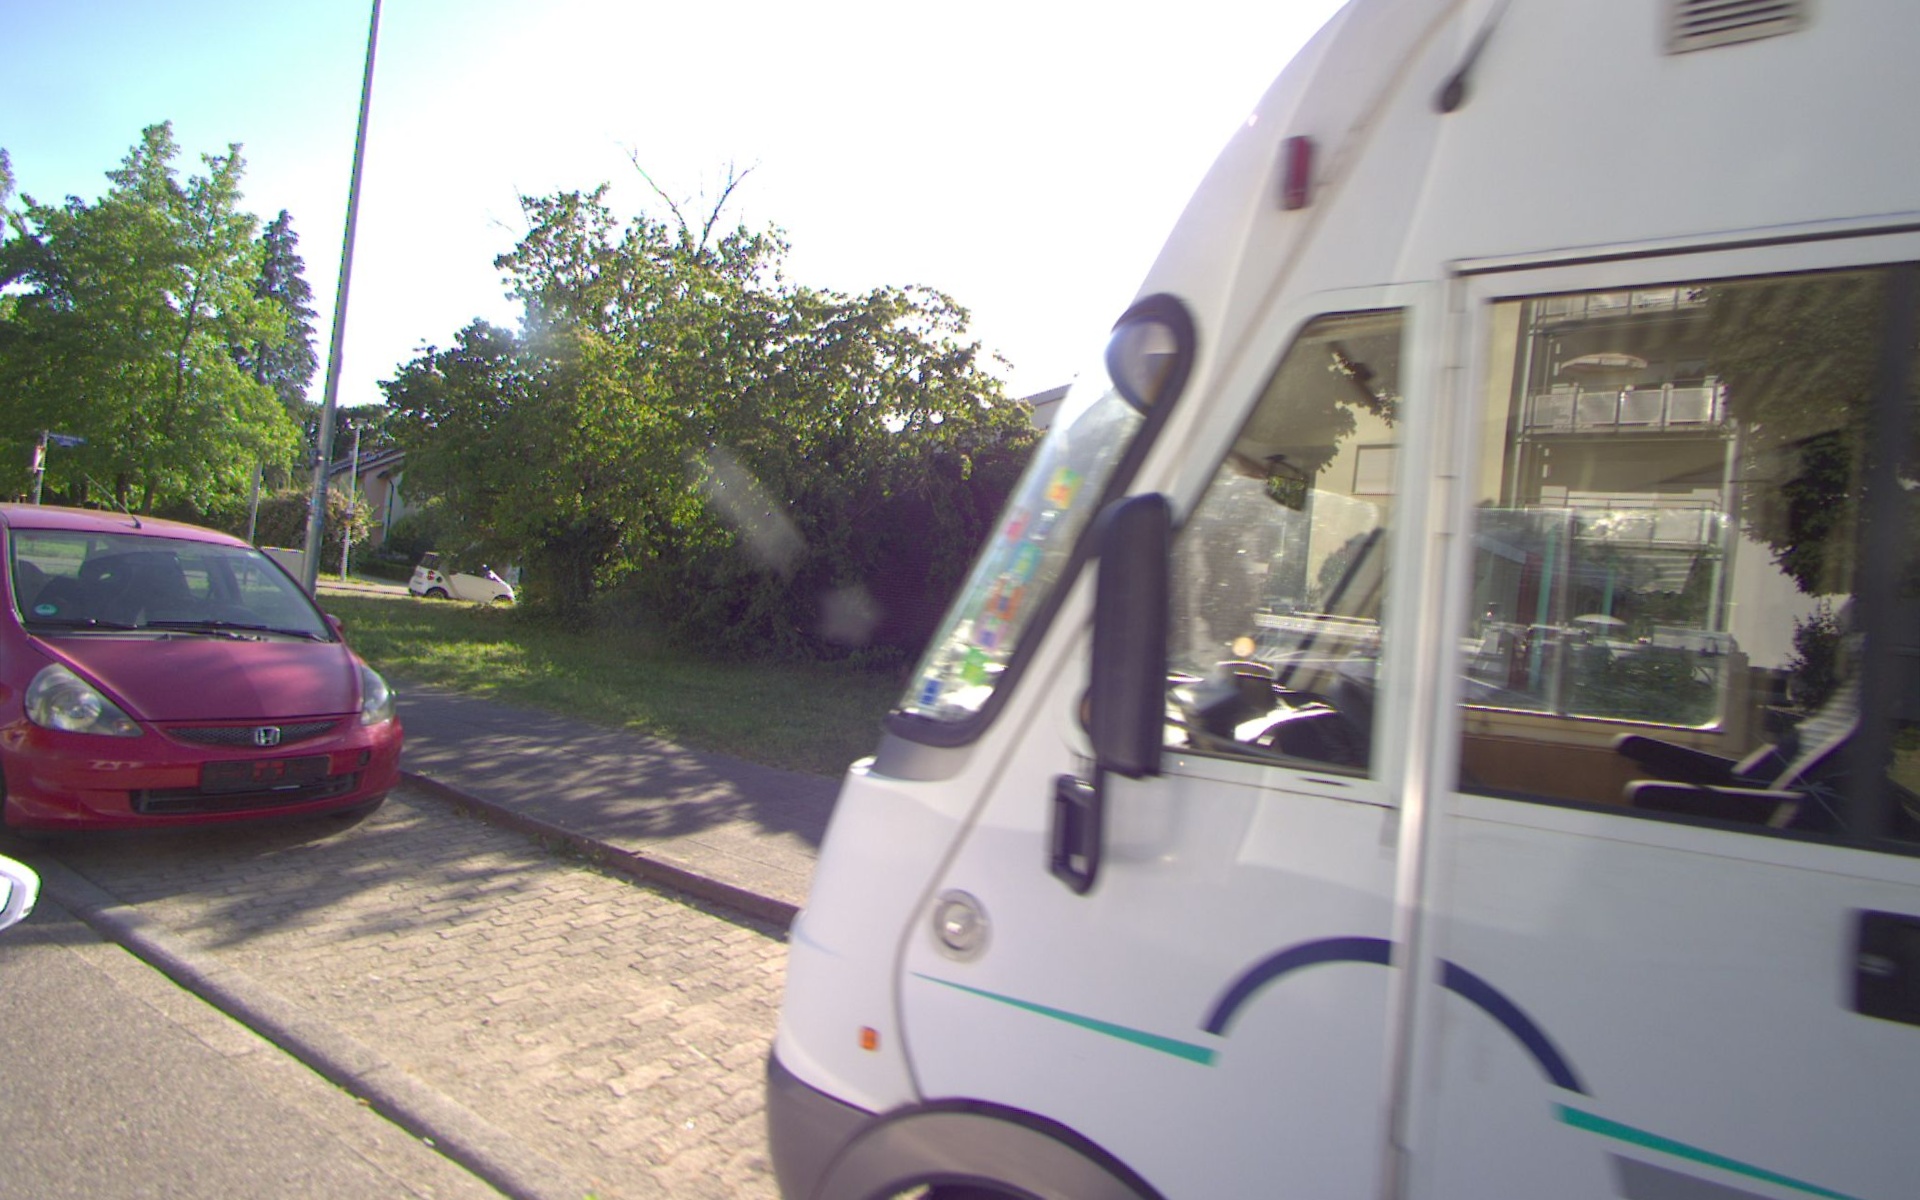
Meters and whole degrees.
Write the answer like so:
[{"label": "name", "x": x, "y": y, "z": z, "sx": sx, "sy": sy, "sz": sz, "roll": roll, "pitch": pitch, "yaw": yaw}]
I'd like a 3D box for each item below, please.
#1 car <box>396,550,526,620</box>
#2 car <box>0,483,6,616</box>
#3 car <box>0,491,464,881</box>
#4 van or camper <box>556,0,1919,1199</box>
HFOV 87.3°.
[{"label": "car", "x": -14.741, "y": -0.425, "z": 29.784, "sx": 1.678, "sy": 1.583, "sz": 2.947, "roll": 11, "pitch": 2, "yaw": 45}, {"label": "car", "x": -12.215, "y": -0.575, "z": 10.670, "sx": 4.566, "sy": 1.702, "sz": 1.776, "roll": 6, "pitch": 2, "yaw": 30}, {"label": "car", "x": -4.792, "y": 0.224, "z": 5.635, "sx": 3.934, "sy": 1.492, "sz": 1.693, "roll": 6, "pitch": 0, "yaw": 32}, {"label": "van or camper", "x": 2.832, "y": 0.309, "z": 1.355, "sx": 6.736, "sy": 2.881, "sz": 2.500, "roll": 6, "pitch": 0, "yaw": 30}]
